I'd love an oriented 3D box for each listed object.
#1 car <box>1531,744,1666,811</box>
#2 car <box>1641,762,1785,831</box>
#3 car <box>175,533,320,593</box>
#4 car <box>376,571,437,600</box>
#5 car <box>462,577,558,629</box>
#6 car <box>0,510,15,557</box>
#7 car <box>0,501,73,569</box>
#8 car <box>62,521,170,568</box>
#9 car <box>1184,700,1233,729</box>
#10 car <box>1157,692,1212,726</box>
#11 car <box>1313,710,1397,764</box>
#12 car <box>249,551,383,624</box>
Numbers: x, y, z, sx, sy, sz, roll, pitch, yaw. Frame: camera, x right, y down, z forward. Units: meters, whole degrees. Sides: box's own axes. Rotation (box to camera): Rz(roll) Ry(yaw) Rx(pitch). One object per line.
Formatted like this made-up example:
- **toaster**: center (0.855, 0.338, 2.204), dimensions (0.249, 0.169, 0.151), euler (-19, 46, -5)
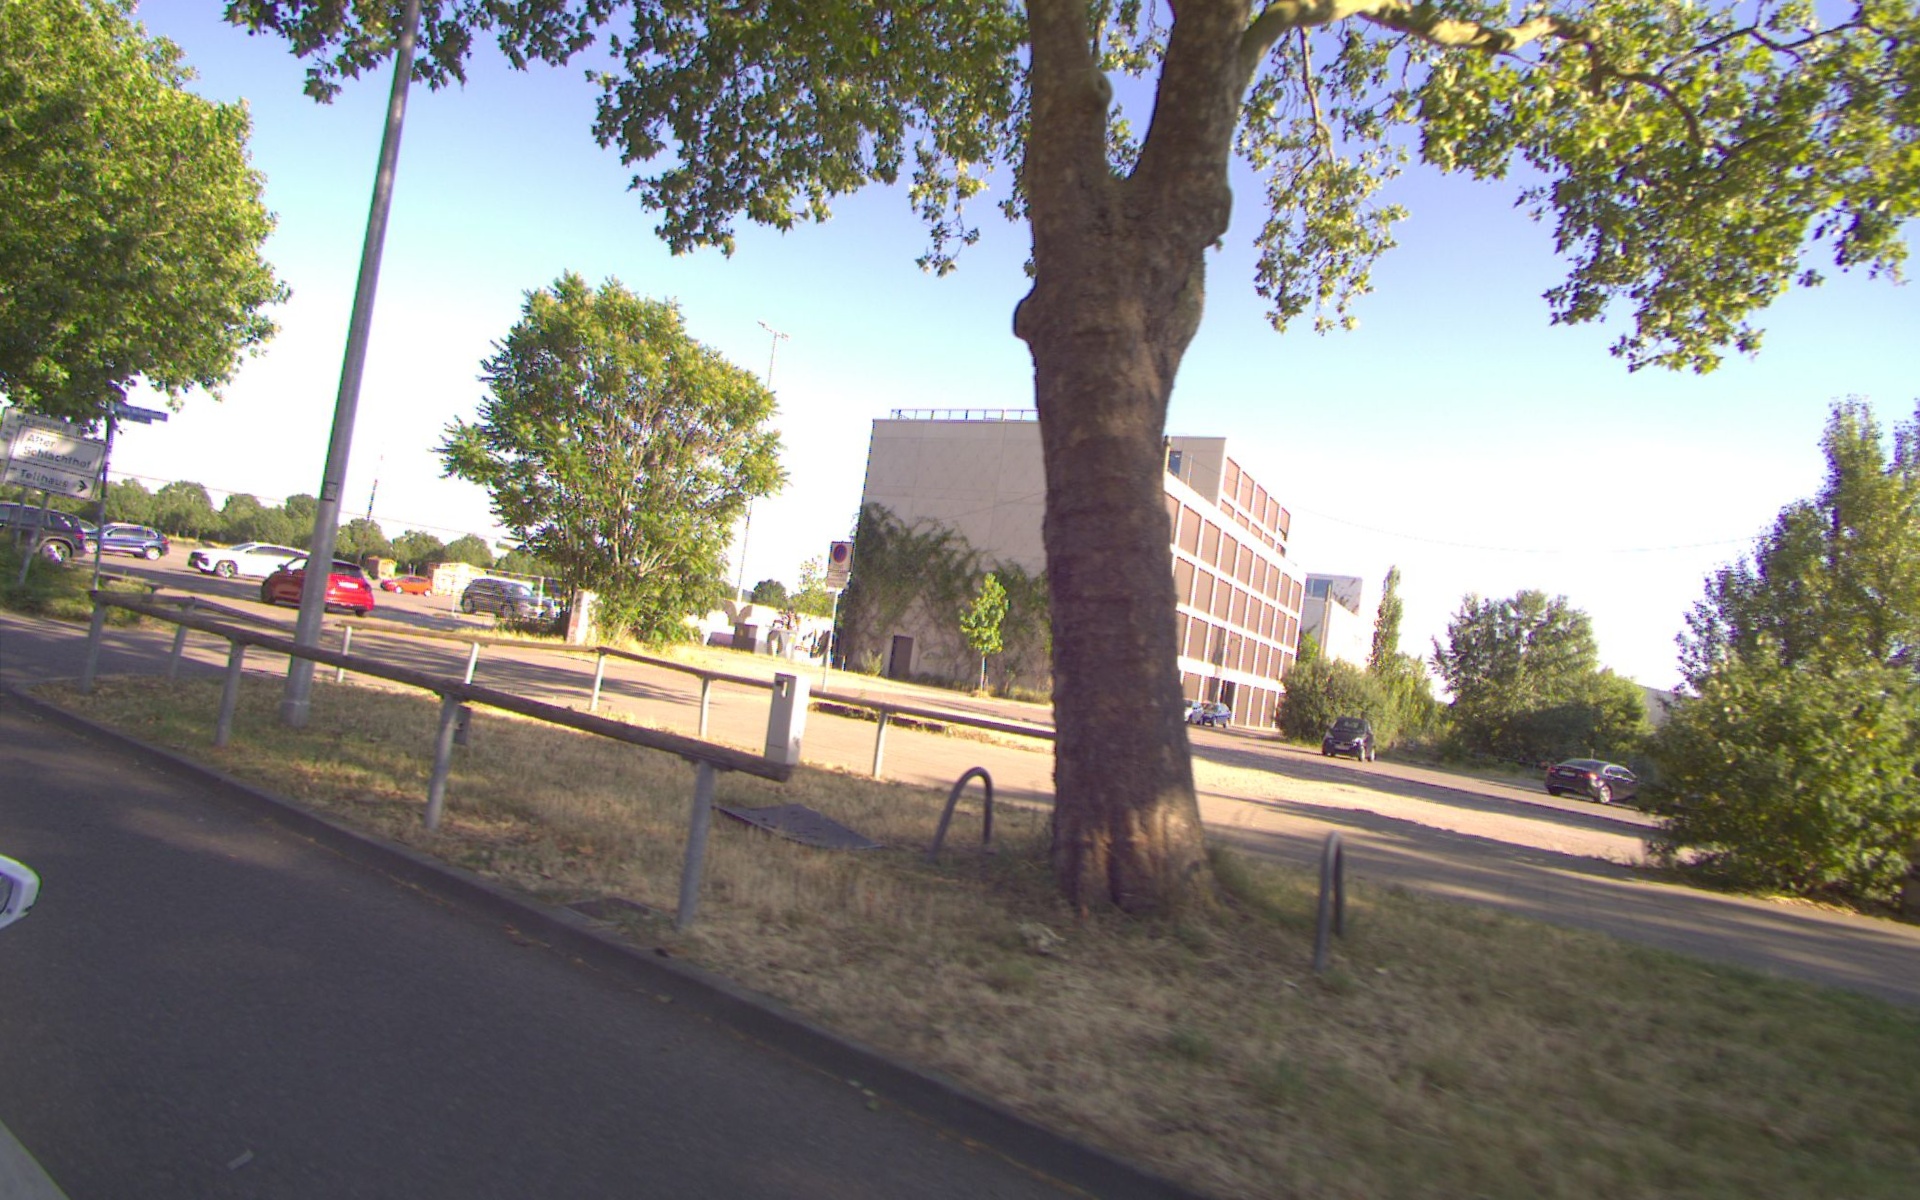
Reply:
- **car**: center (21.929, 6.098, 34.536), dimensions (4.317, 1.629, 1.849), euler (10, -3, -26)
- **car**: center (24.621, 6.426, 32.882), dimensions (4.318, 1.606, 1.988), euler (10, -3, -27)
- **car**: center (-29.921, -1.514, 42.360), dimensions (1.888, 1.676, 4.467), euler (6, -4, 35)
- **car**: center (-44.005, -1.143, 79.991), dimensions (1.622, 1.618, 3.827), euler (7, -4, 29)
- **car**: center (-18.917, 0.113, 42.249), dimensions (3.933, 1.627, 1.570), euler (7, -3, 31)
- **car**: center (-32.684, -2.458, 31.840), dimensions (1.651, 1.478, 3.604), euler (7, -4, 32)
- **car**: center (-30.022, -2.211, 30.635), dimensions (1.803, 1.783, 3.998), euler (6, -4, 32)
- **car**: center (-43.433, -2.829, 51.862), dimensions (1.642, 1.626, 3.823), euler (7, -4, 32)
- **car**: center (15.922, 7.360, 64.386), dimensions (1.851, 1.472, 3.827), euler (7, -4, 31)
- **car**: center (13.517, 6.557, 60.400), dimensions (1.851, 1.629, 4.364), euler (7, -4, 31)
- **car**: center (14.967, 5.188, 37.954), dimensions (1.830, 1.629, 4.360), euler (6, -4, 35)
- **car**: center (-18.468, -0.370, 28.836), dimensions (3.740, 1.532, 1.619), euler (7, -3, 32)
